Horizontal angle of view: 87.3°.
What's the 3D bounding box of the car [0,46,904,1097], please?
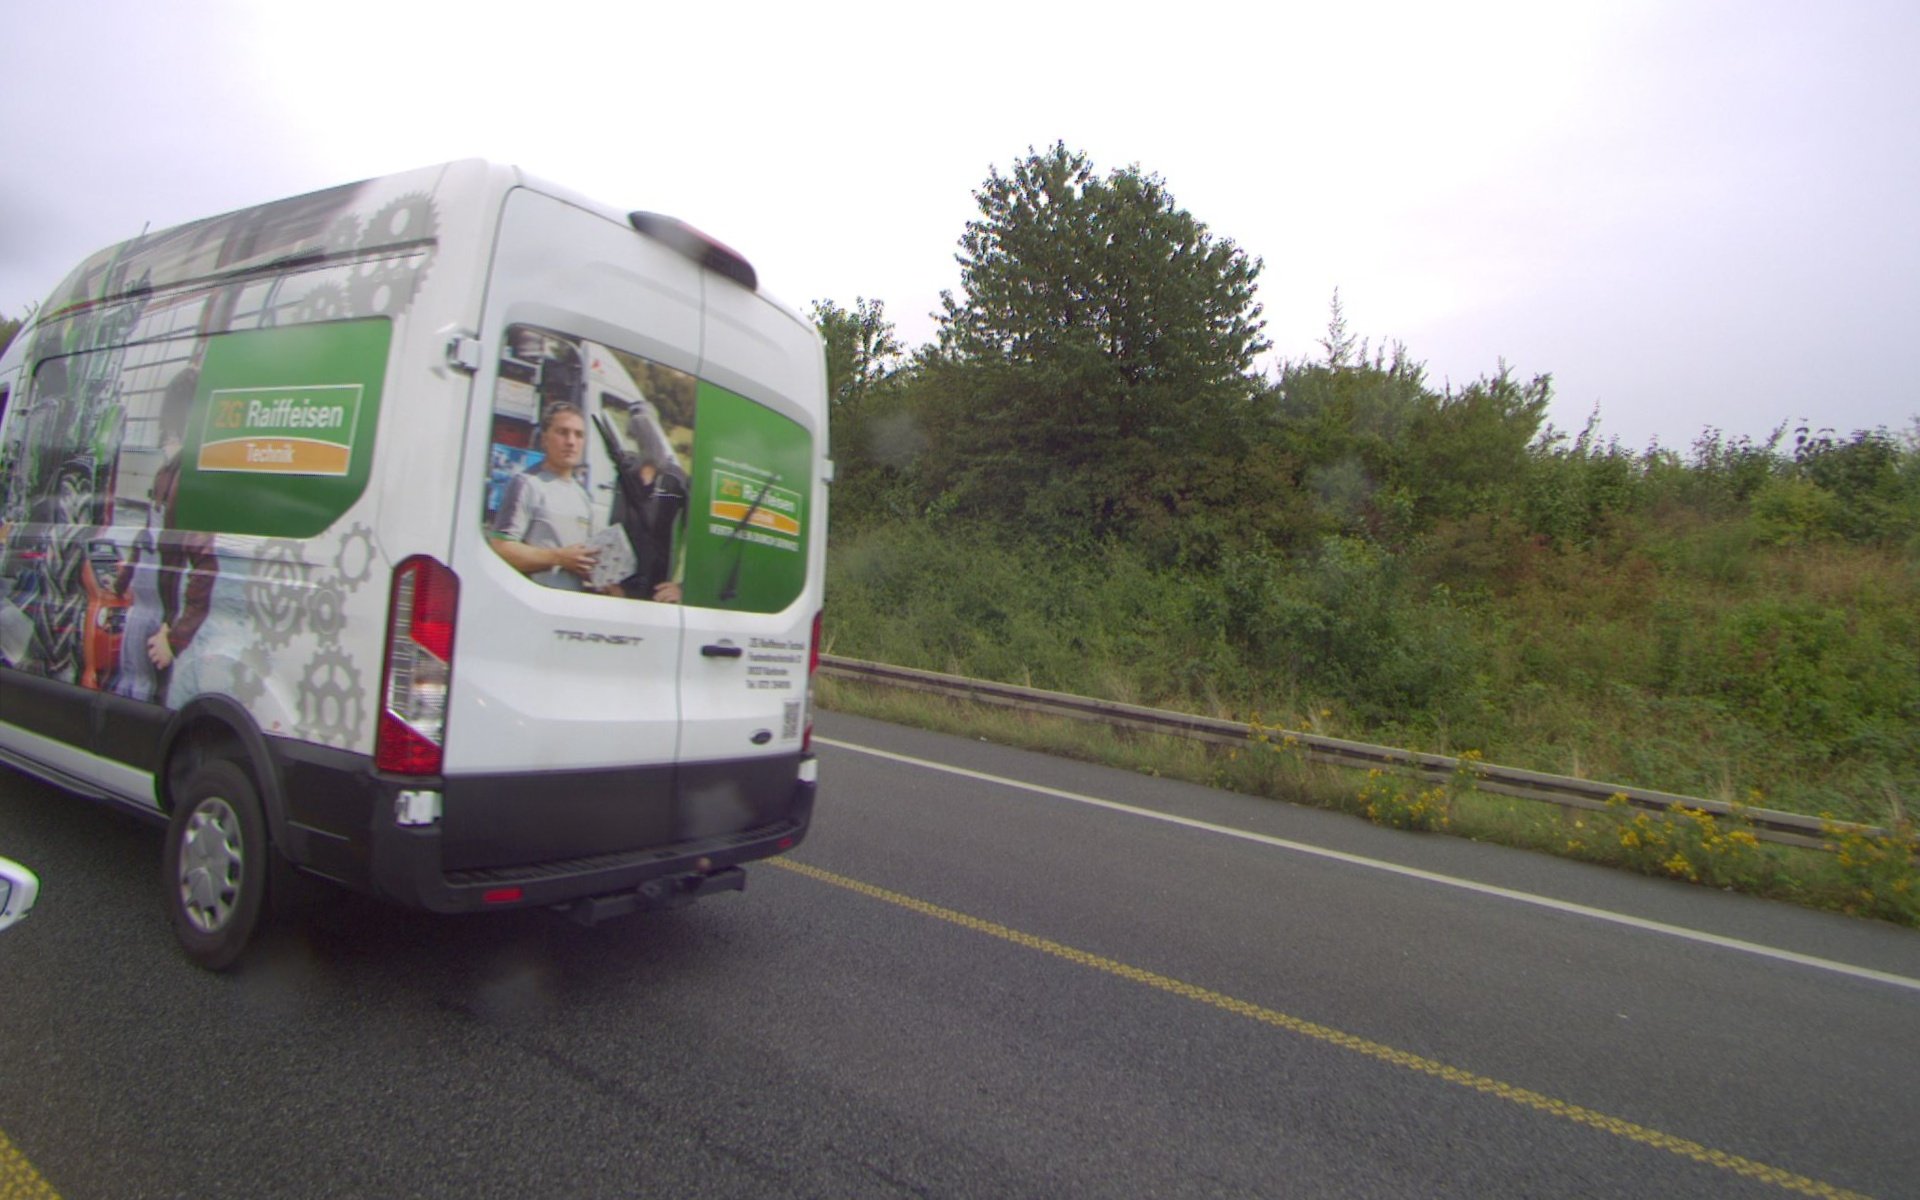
[{"bbox_3d":[-3.322,-0.279,4.989,5.659,2.816,1.997,7,0,31],"label":"car"}]
